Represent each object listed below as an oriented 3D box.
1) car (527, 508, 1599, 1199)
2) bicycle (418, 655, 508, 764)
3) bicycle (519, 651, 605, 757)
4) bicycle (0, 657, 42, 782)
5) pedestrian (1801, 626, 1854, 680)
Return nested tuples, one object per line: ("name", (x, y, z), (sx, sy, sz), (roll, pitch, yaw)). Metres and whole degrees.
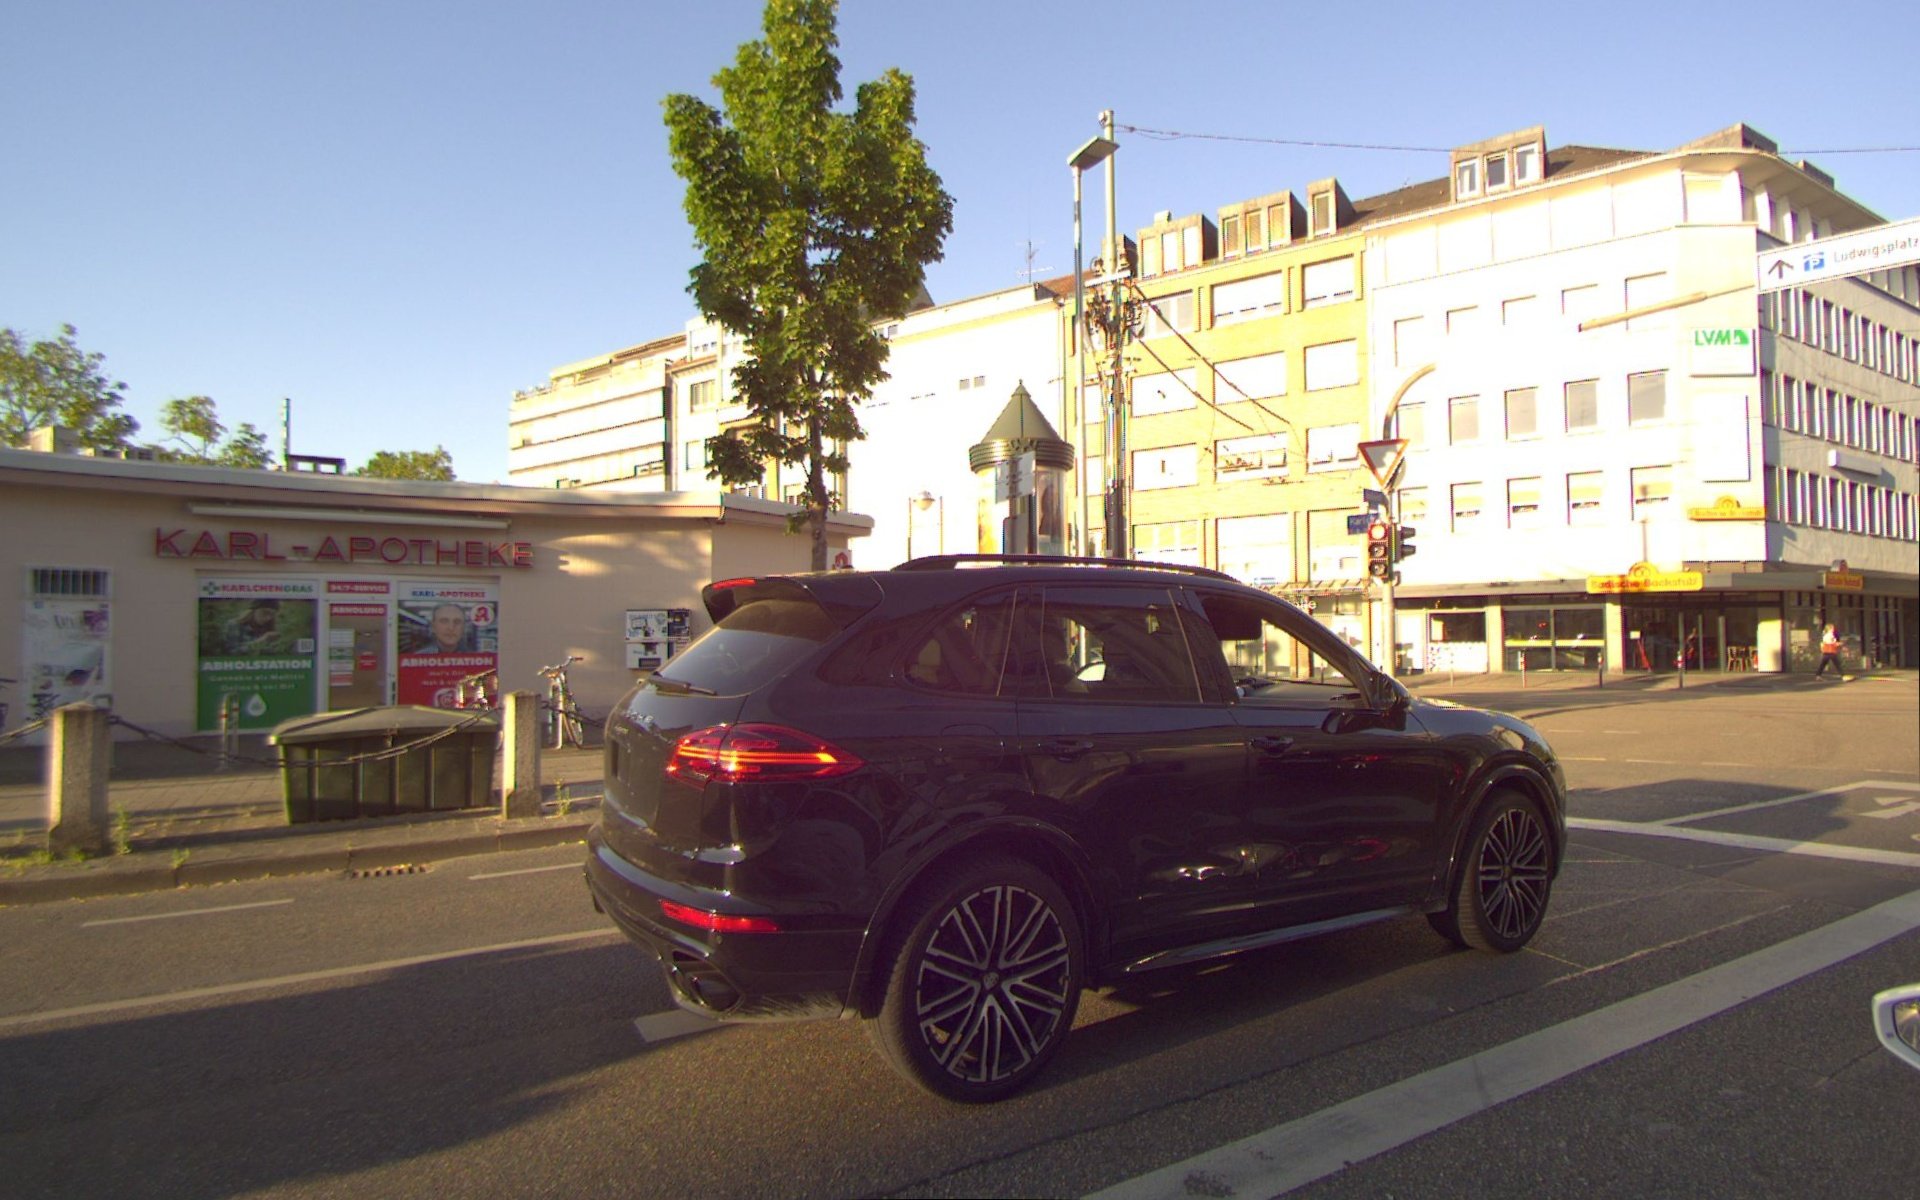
("car", (0.657, 0.718, 4.454), (4.512, 1.736, 1.938), (1, -3, -33))
("bicycle", (-6.440, 1.350, 12.958), (0.938, 1.273, 1.997), (1, -3, -29))
("bicycle", (-5.386, 1.334, 13.499), (0.778, 1.273, 2.433), (1, -3, -29))
("bicycle", (-10.328, 1.246, 10.507), (0.625, 1.273, 1.846), (1, -3, -29))
("pedestrian", (25.854, 1.570, 29.953), (0.931, 1.557, 0.908), (-1, -2, 24))
